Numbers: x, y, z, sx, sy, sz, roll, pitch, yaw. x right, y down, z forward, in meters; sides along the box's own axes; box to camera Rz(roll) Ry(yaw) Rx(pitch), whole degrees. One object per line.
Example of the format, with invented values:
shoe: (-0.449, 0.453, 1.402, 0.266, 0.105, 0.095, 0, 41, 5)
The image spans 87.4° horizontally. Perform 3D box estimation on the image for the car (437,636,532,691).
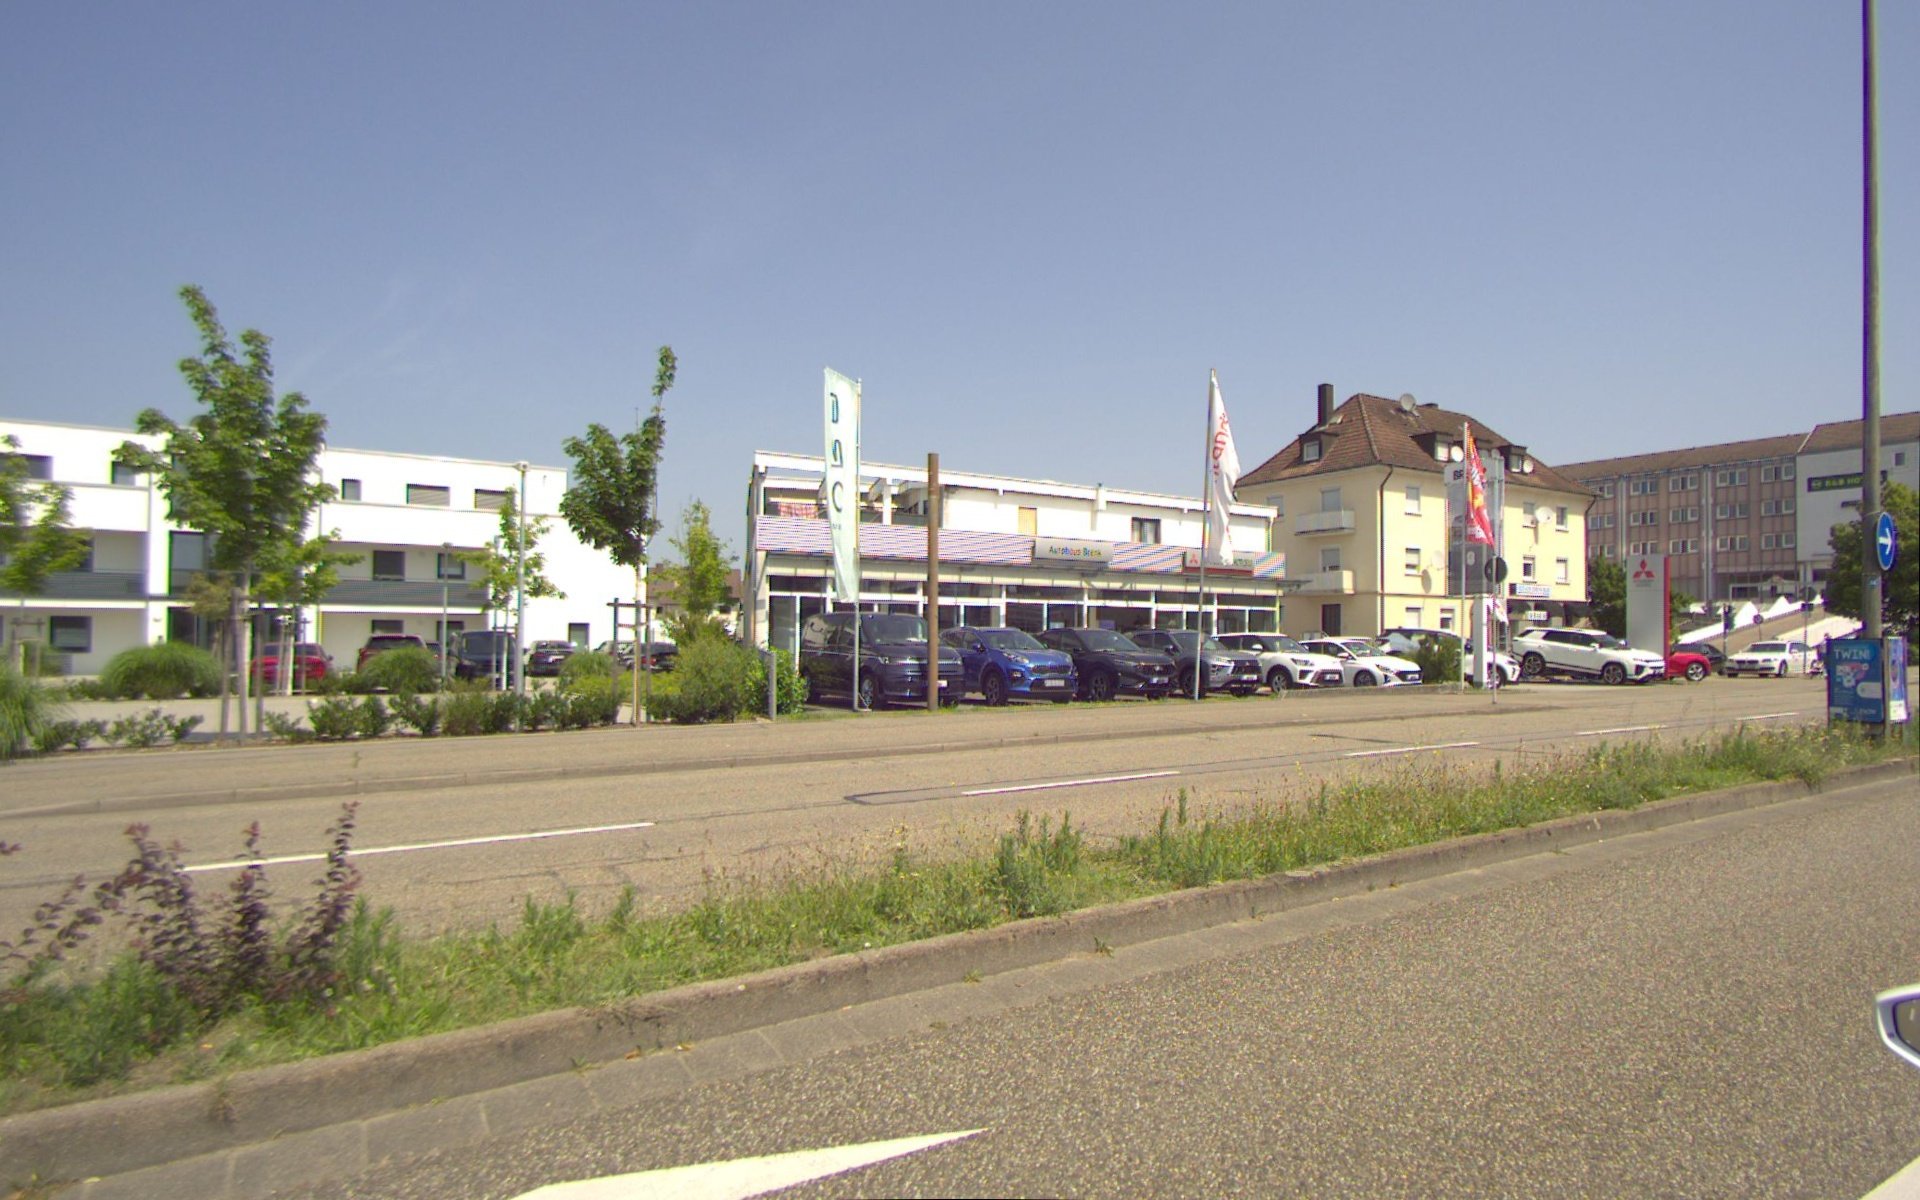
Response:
car: (-13.921, 1.787, 29.306, 1.860, 1.472, 3.961, 1, -2, -35)

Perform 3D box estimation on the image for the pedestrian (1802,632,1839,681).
pedestrian: (31.877, 2.073, 37.211, 1.021, 1.770, 0.737, 1, -2, -30)

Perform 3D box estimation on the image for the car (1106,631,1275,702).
car: (5.539, 1.567, 24.577, 1.741, 1.588, 3.965, 1, -2, -33)

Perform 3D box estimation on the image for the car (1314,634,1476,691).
car: (12.352, 1.729, 28.743, 1.741, 1.486, 3.965, 1, -2, -33)

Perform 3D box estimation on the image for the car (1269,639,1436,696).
car: (10.657, 1.791, 27.541, 1.840, 1.413, 3.965, 1, -2, -33)

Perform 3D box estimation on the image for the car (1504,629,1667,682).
car: (21.593, 1.864, 34.876, 1.741, 1.732, 4.521, 1, -2, -33)

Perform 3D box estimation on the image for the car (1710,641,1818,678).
car: (32.477, 2.371, 40.539, 4.701, 1.429, 1.768, 1, -2, -29)

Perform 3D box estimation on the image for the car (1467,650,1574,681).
car: (24.338, 2.841, 43.683, 3.929, 1.268, 1.648, 0, -2, -11)

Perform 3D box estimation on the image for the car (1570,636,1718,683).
car: (25.157, 2.184, 37.067, 4.093, 1.664, 1.841, 0, -2, 7)

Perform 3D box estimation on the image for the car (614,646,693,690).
car: (-9.845, 2.137, 32.099, 1.630, 1.261, 3.695, 1, -2, -30)

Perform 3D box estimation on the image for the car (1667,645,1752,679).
car: (31.826, 2.602, 42.614, 3.960, 1.369, 1.721, 1, -2, -35)

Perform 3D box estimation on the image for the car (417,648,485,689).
car: (-20.246, 2.686, 39.866, 1.860, 1.472, 3.961, 1, -2, -35)

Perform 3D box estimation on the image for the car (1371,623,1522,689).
car: (14.619, 1.676, 30.417, 3.922, 1.645, 1.760, 3, -1, 22)

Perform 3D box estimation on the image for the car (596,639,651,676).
car: (-14.350, 2.427, 43.033, 1.846, 1.472, 3.990, 1, -2, -13)

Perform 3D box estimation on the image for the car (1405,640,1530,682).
car: (19.675, 2.324, 39.083, 1.845, 1.550, 3.966, 1, -2, -32)

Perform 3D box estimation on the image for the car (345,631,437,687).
car: (-16.131, 1.621, 28.400, 1.860, 1.472, 3.961, 1, -2, -35)

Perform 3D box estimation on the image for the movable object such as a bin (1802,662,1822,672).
movable object such as a bin: (31.425, 2.469, 37.051, 0.500, 0.377, 0.414, 1, -2, -30)

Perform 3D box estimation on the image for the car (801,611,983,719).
car: (-1.463, 1.230, 20.069, 1.978, 1.906, 3.965, 1, -2, -33)

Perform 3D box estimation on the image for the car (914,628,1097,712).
car: (0.880, 1.429, 21.677, 2.067, 1.629, 3.965, 1, -2, -33)

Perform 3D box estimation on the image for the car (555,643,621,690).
car: (-11.037, 1.933, 29.830, 1.701, 1.240, 3.524, 1, -2, -21)

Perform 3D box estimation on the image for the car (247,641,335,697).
car: (-17.950, 1.785, 26.952, 1.828, 1.332, 3.962, 1, -2, -34)

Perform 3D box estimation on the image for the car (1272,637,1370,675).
car: (16.339, 2.522, 45.626, 1.845, 1.636, 3.966, 1, -2, -32)

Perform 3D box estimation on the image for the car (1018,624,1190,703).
car: (3.180, 1.441, 22.955, 1.741, 1.629, 3.965, 1, -4, -33)

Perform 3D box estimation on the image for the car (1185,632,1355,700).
car: (7.981, 1.658, 26.189, 1.905, 1.629, 3.965, 1, -2, -33)
